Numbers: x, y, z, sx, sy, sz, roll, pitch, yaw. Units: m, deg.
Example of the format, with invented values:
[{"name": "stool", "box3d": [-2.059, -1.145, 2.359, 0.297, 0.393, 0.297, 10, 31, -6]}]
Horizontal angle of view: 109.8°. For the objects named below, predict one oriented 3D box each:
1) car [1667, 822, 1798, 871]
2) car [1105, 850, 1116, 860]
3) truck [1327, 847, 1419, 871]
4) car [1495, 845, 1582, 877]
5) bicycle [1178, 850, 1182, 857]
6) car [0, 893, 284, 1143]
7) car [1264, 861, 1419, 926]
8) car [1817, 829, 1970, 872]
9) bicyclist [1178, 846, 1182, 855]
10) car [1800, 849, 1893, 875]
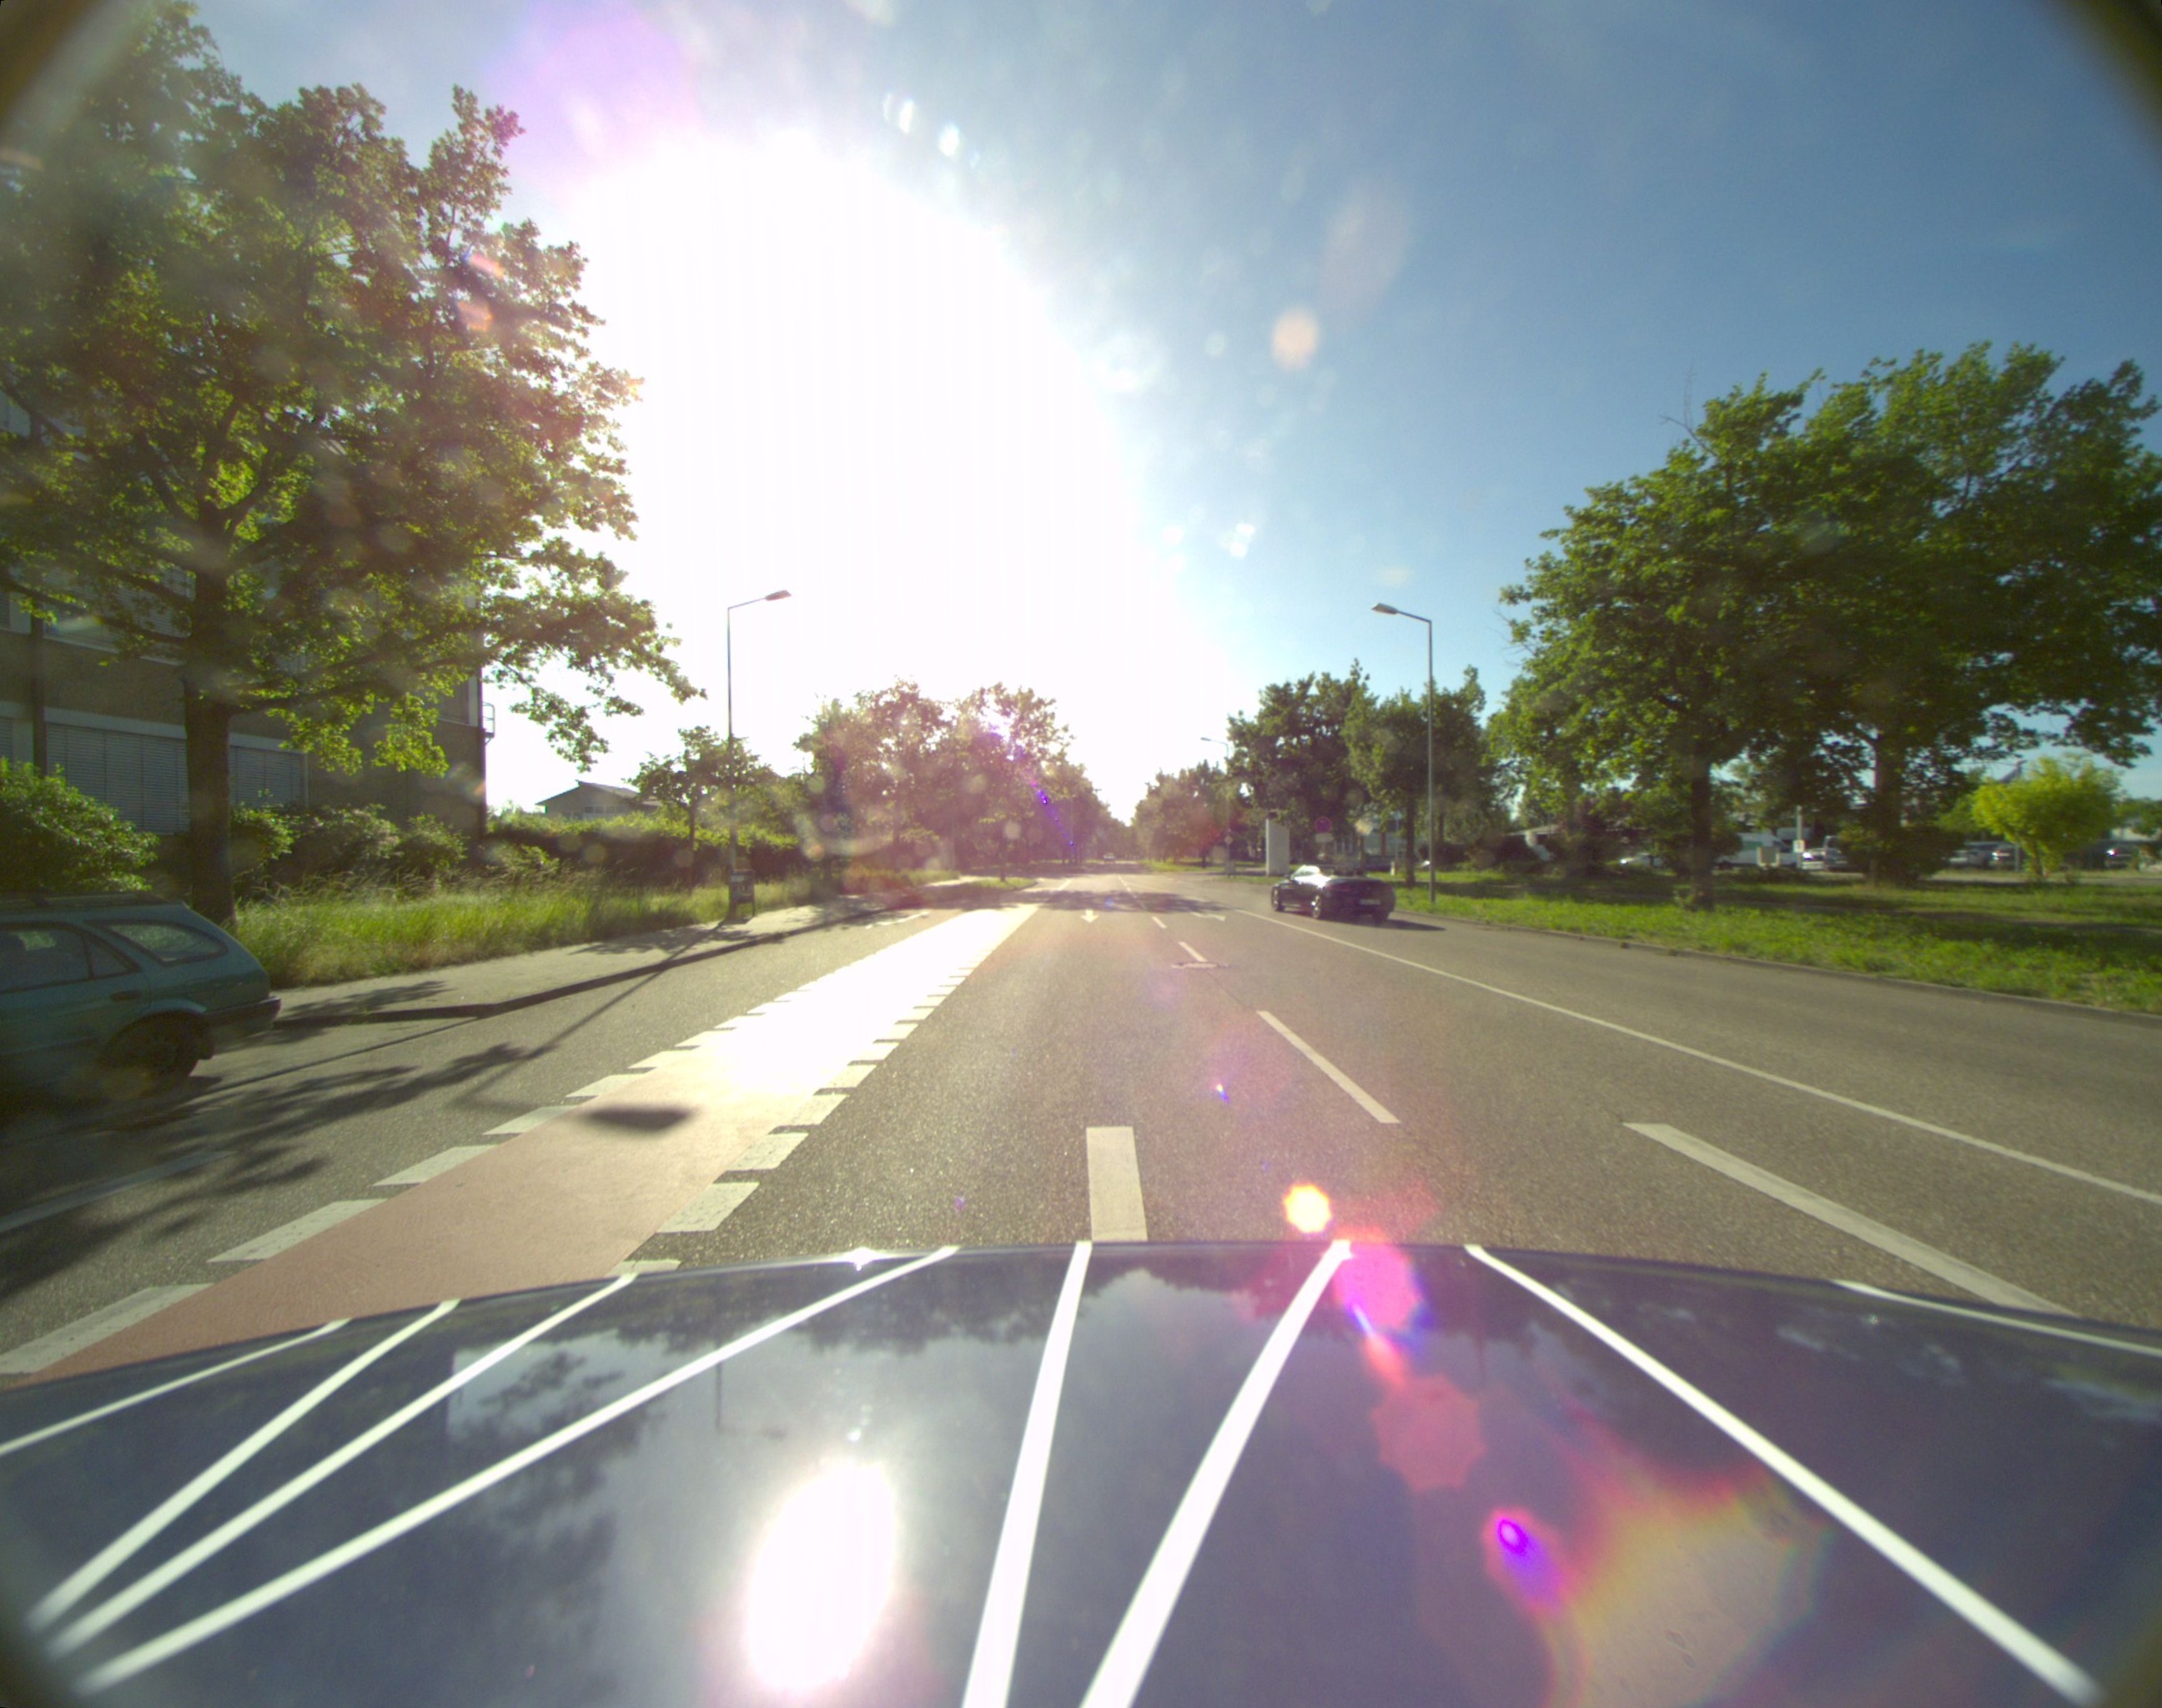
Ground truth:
[{"name": "car", "box3d": [39.507, -0.461, 46.185, 6.176, 2.687, 2.300, -2, 1, -3]}, {"name": "car", "box3d": [5.061, 0.156, 131.078, 1.827, 1.477, 3.999, -2, 1, 1]}, {"name": "truck", "box3d": [25.121, 0.413, 65.498, 7.130, 2.038, 2.140, 0, 1, -2]}, {"name": "car", "box3d": [39.913, 0.594, 66.384, 6.356, 2.501, 2.300, -2, 1, -3]}, {"name": "bicycle", "box3d": [18.017, -0.048, 137.996, 0.552, 1.155, 2.334, -2, 1, 3]}, {"name": "car", "box3d": [-7.472, 1.070, 4.215, 1.596, 1.420, 4.203, 1, 1, 2]}, {"name": "car", "box3d": [6.581, 0.940, 19.832, 2.000, 1.395, 4.585, 2, 0, -7]}, {"name": "car", "box3d": [40.800, -0.183, 38.253, 5.424, 2.058, 2.300, -1, 1, -3]}, {"name": "bicyclist", "box3d": [18.000, -0.626, 137.974, 0.665, 1.620, 0.659, -2, 2, 3]}, {"name": "car", "box3d": [41.203, 0.421, 40.924, 3.532, 1.294, 1.574, -1, 1, -2]}]
